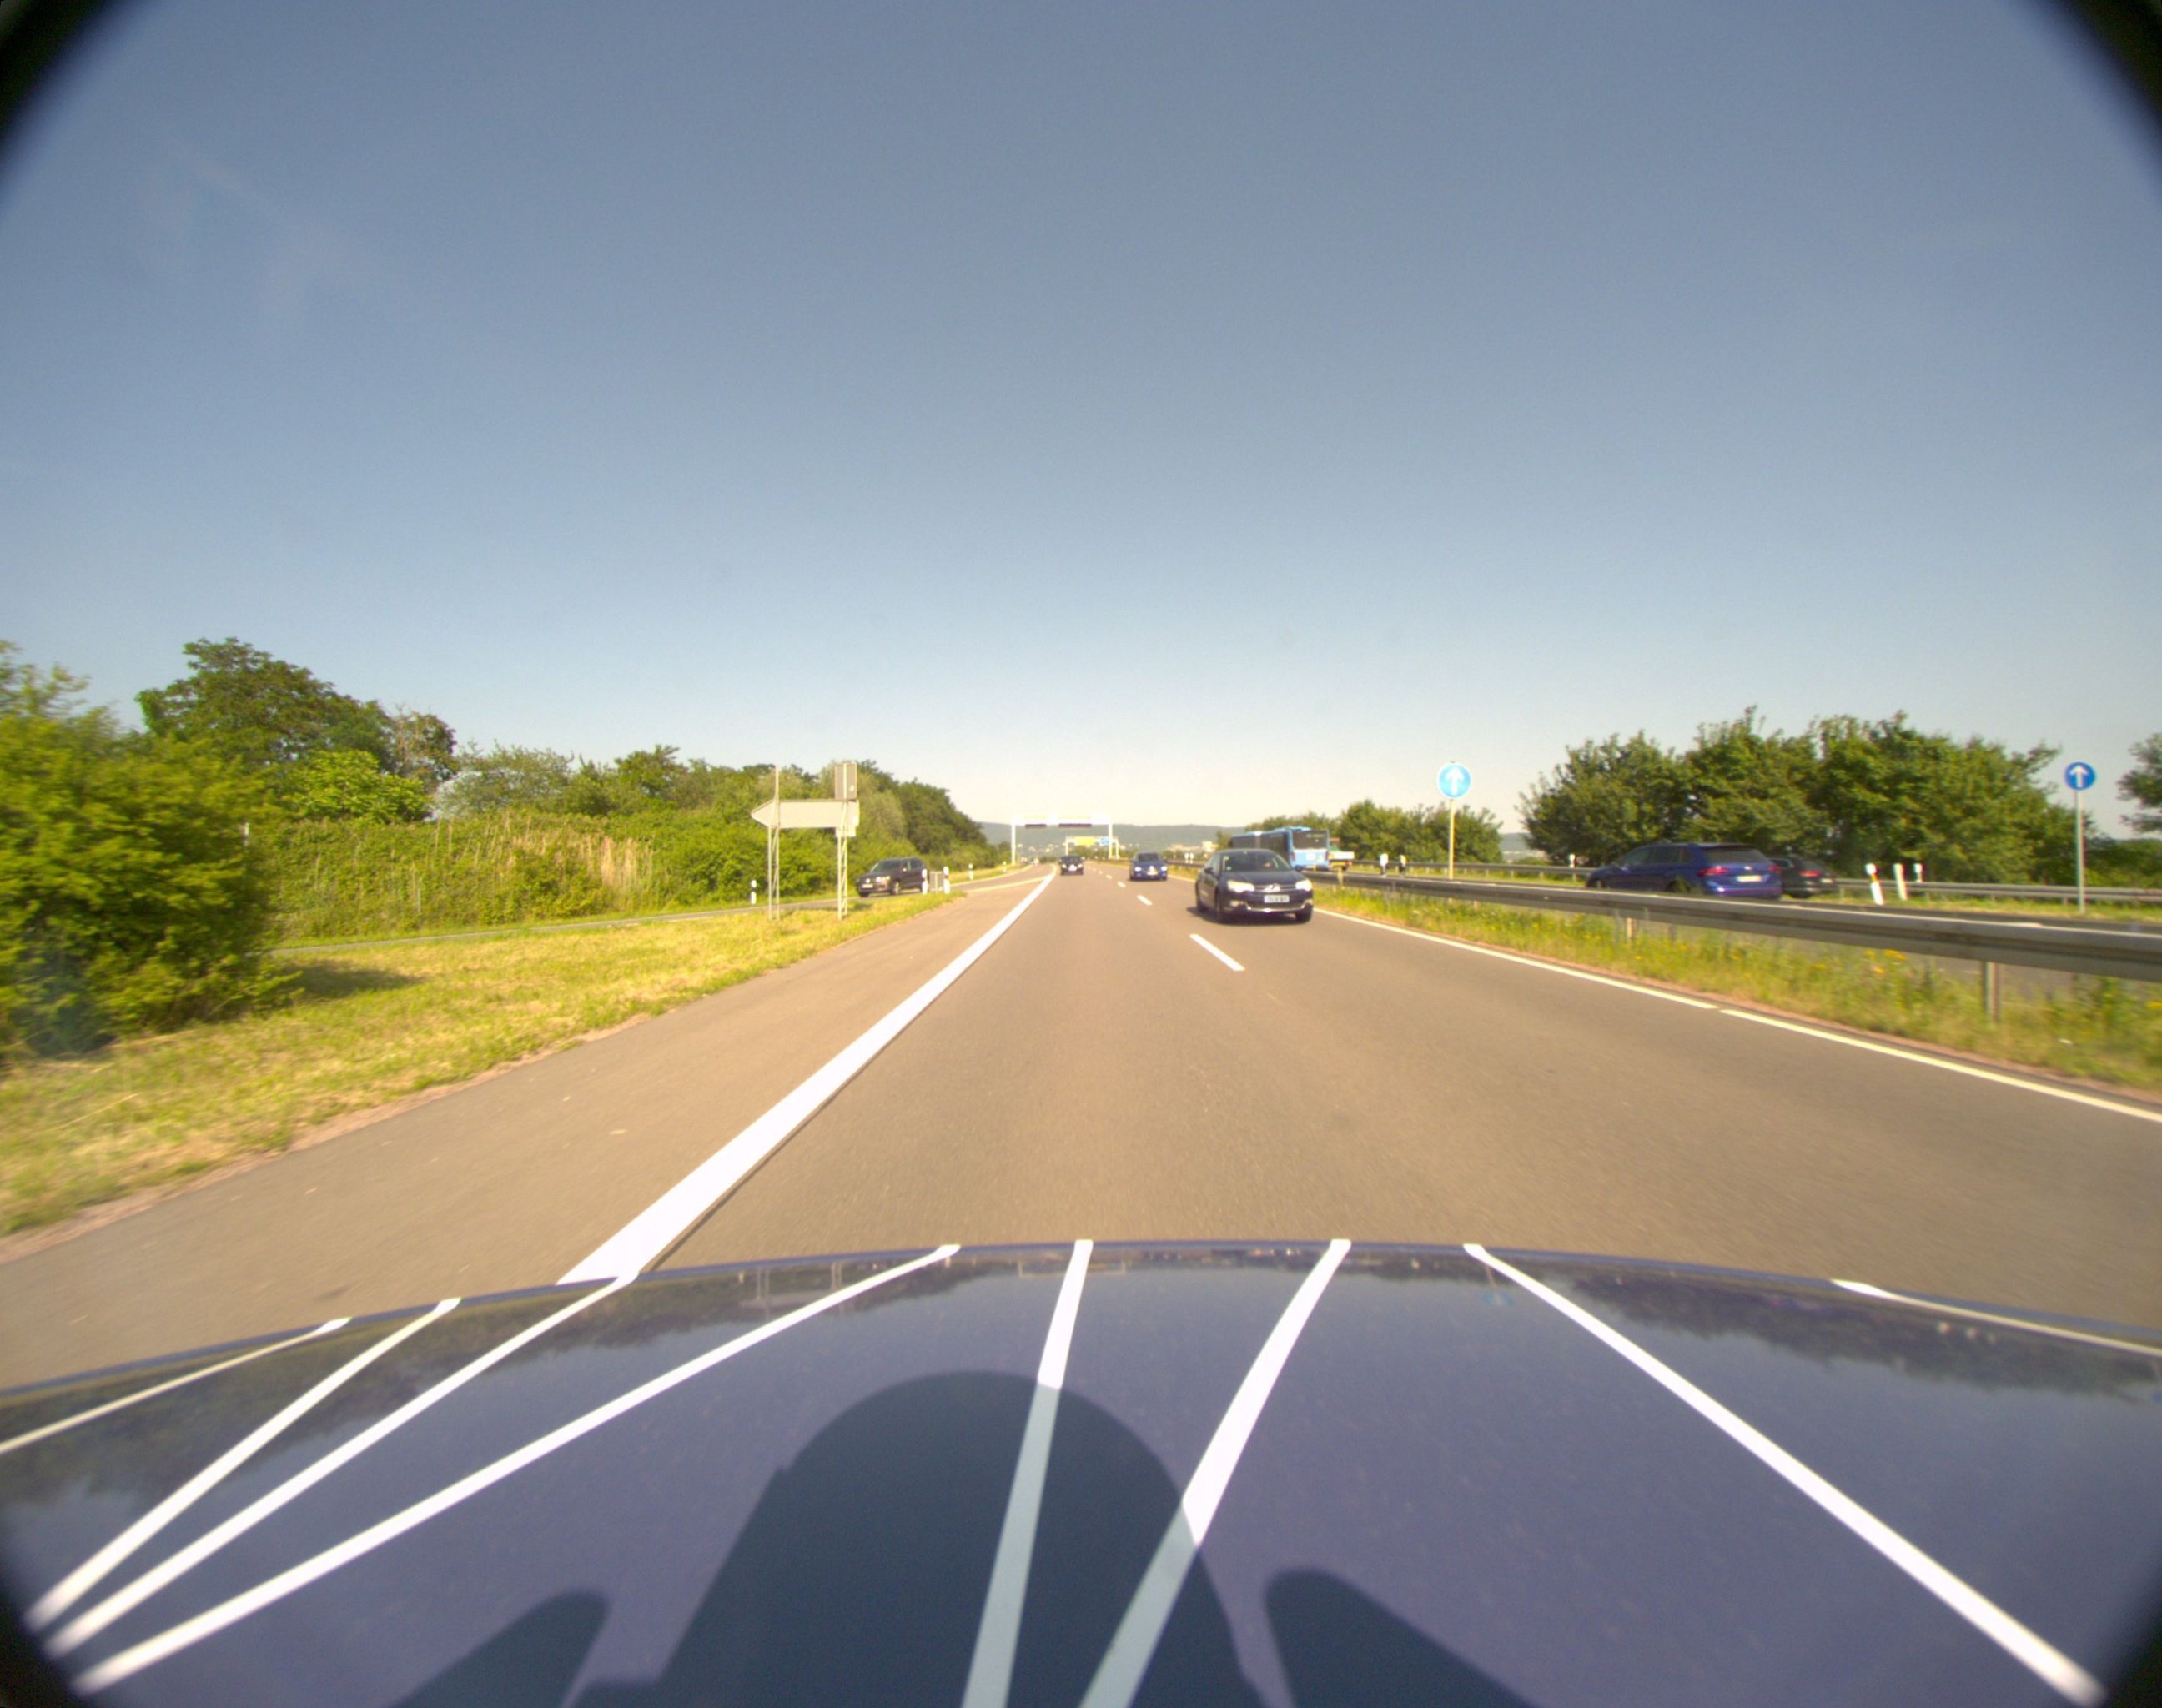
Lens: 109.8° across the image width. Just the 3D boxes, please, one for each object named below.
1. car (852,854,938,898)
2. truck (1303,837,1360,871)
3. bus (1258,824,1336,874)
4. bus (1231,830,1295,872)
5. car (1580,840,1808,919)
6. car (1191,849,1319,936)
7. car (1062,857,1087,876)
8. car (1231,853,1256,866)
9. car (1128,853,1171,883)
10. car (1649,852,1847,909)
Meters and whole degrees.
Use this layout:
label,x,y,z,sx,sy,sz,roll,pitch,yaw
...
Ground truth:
label,x,y,z,sx,sy,sz,roll,pitch,yaw
car,-8.276,0.955,34.262,1.788,1.637,4.152,-4,0,17
truck,19.030,-0.031,58.095,2.132,2.439,6.616,0,0,0
bus,14.479,-0.325,51.694,2.733,3.092,8.391,-1,0,-2
bus,14.361,-0.220,60.828,2.732,3.092,9.834,-1,0,-1
car,14.376,0.570,18.222,1.998,1.596,4.274,-2,-1,1
car,3.554,0.705,16.343,1.788,1.524,4.374,-2,1,1
car,-0.442,0.913,55.050,1.600,1.241,4.001,-2,-1,1
car,17.995,0.574,84.374,1.789,1.437,3.999,0,0,-1
car,3.468,0.659,38.990,1.652,1.403,3.774,-2,0,-3
car,22.561,0.828,25.960,1.842,1.690,4.743,-2,1,-22
